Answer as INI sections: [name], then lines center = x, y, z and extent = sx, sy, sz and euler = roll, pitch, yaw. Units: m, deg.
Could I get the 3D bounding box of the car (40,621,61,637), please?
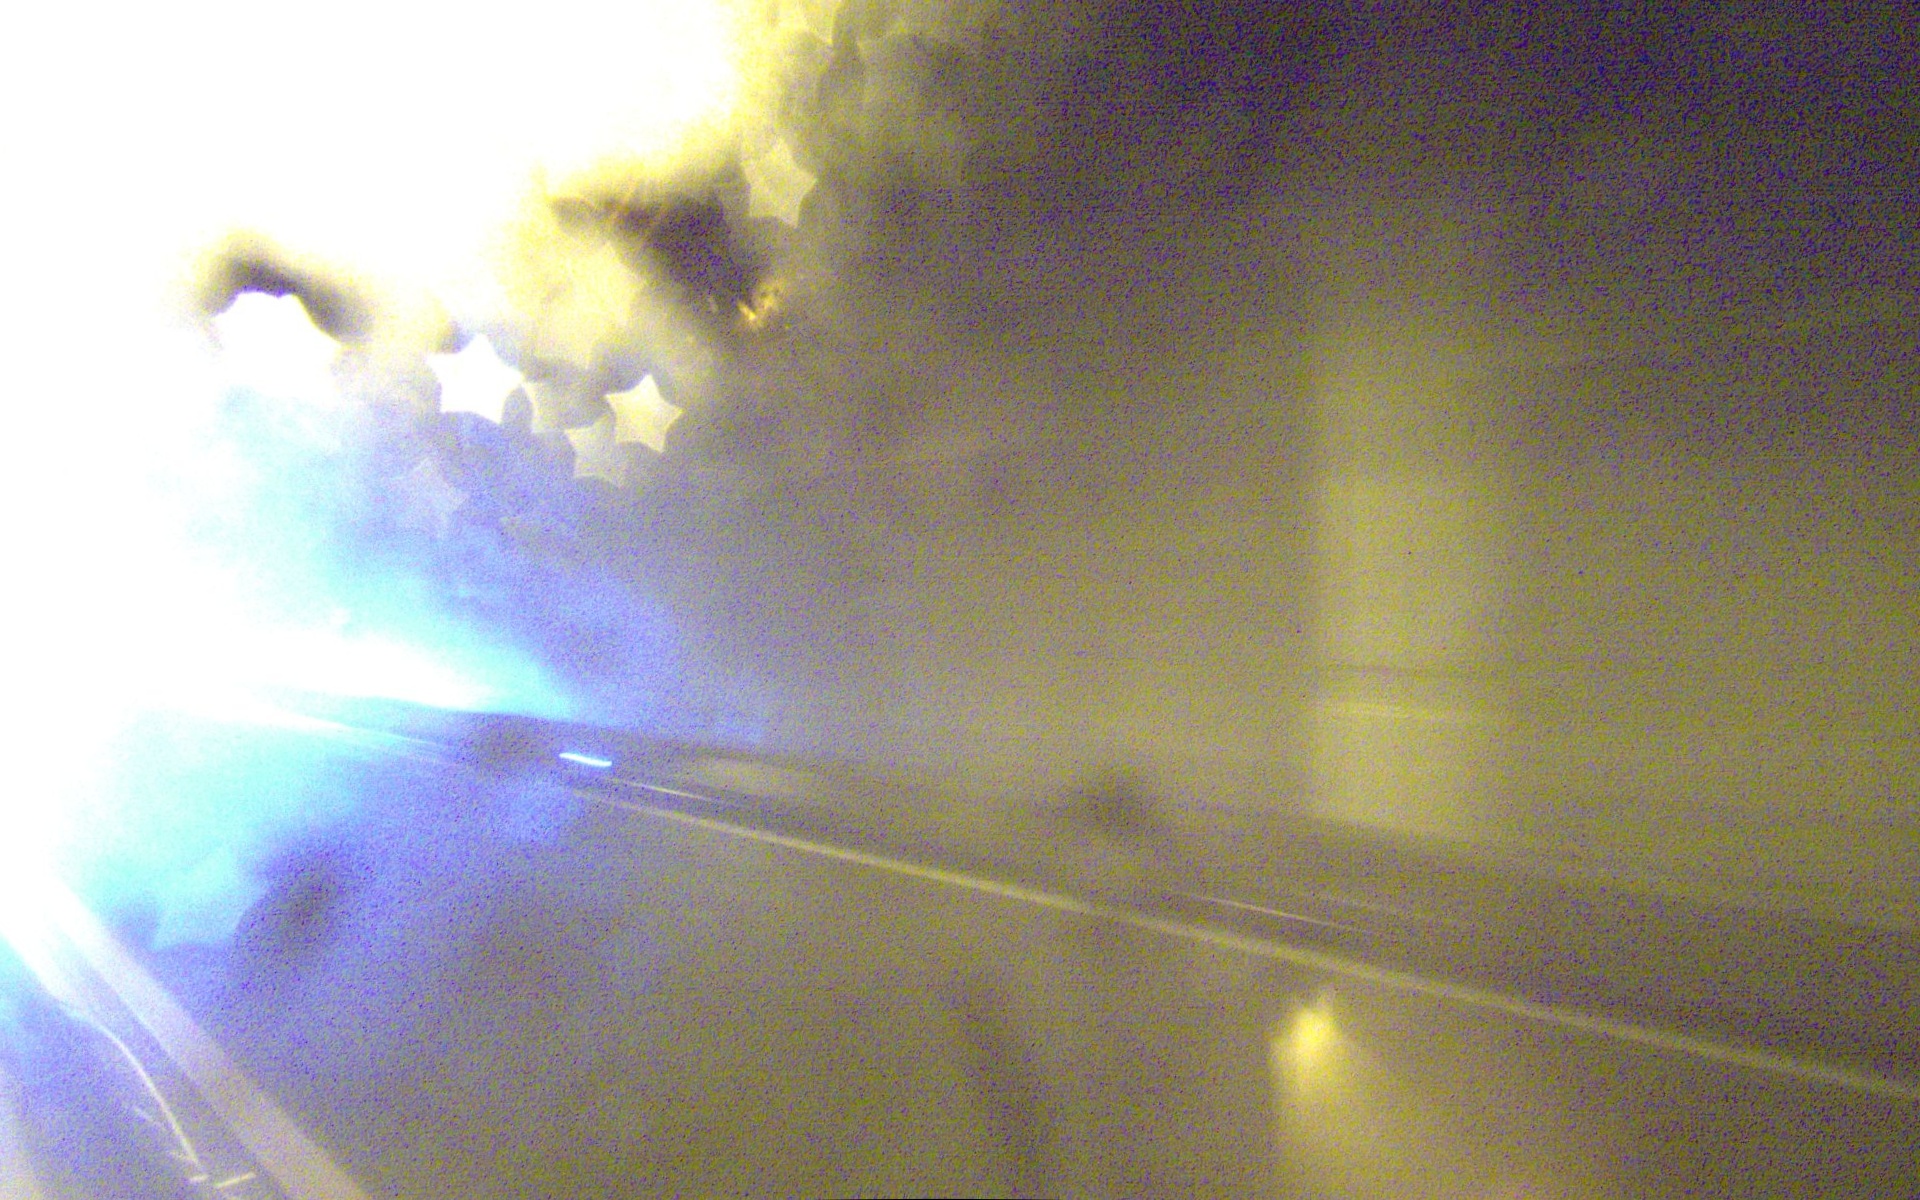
[car]
center = -97.329, 3.112, 108.292
extent = 1.611, 1.662, 3.779
euler = 0, -1, -42
